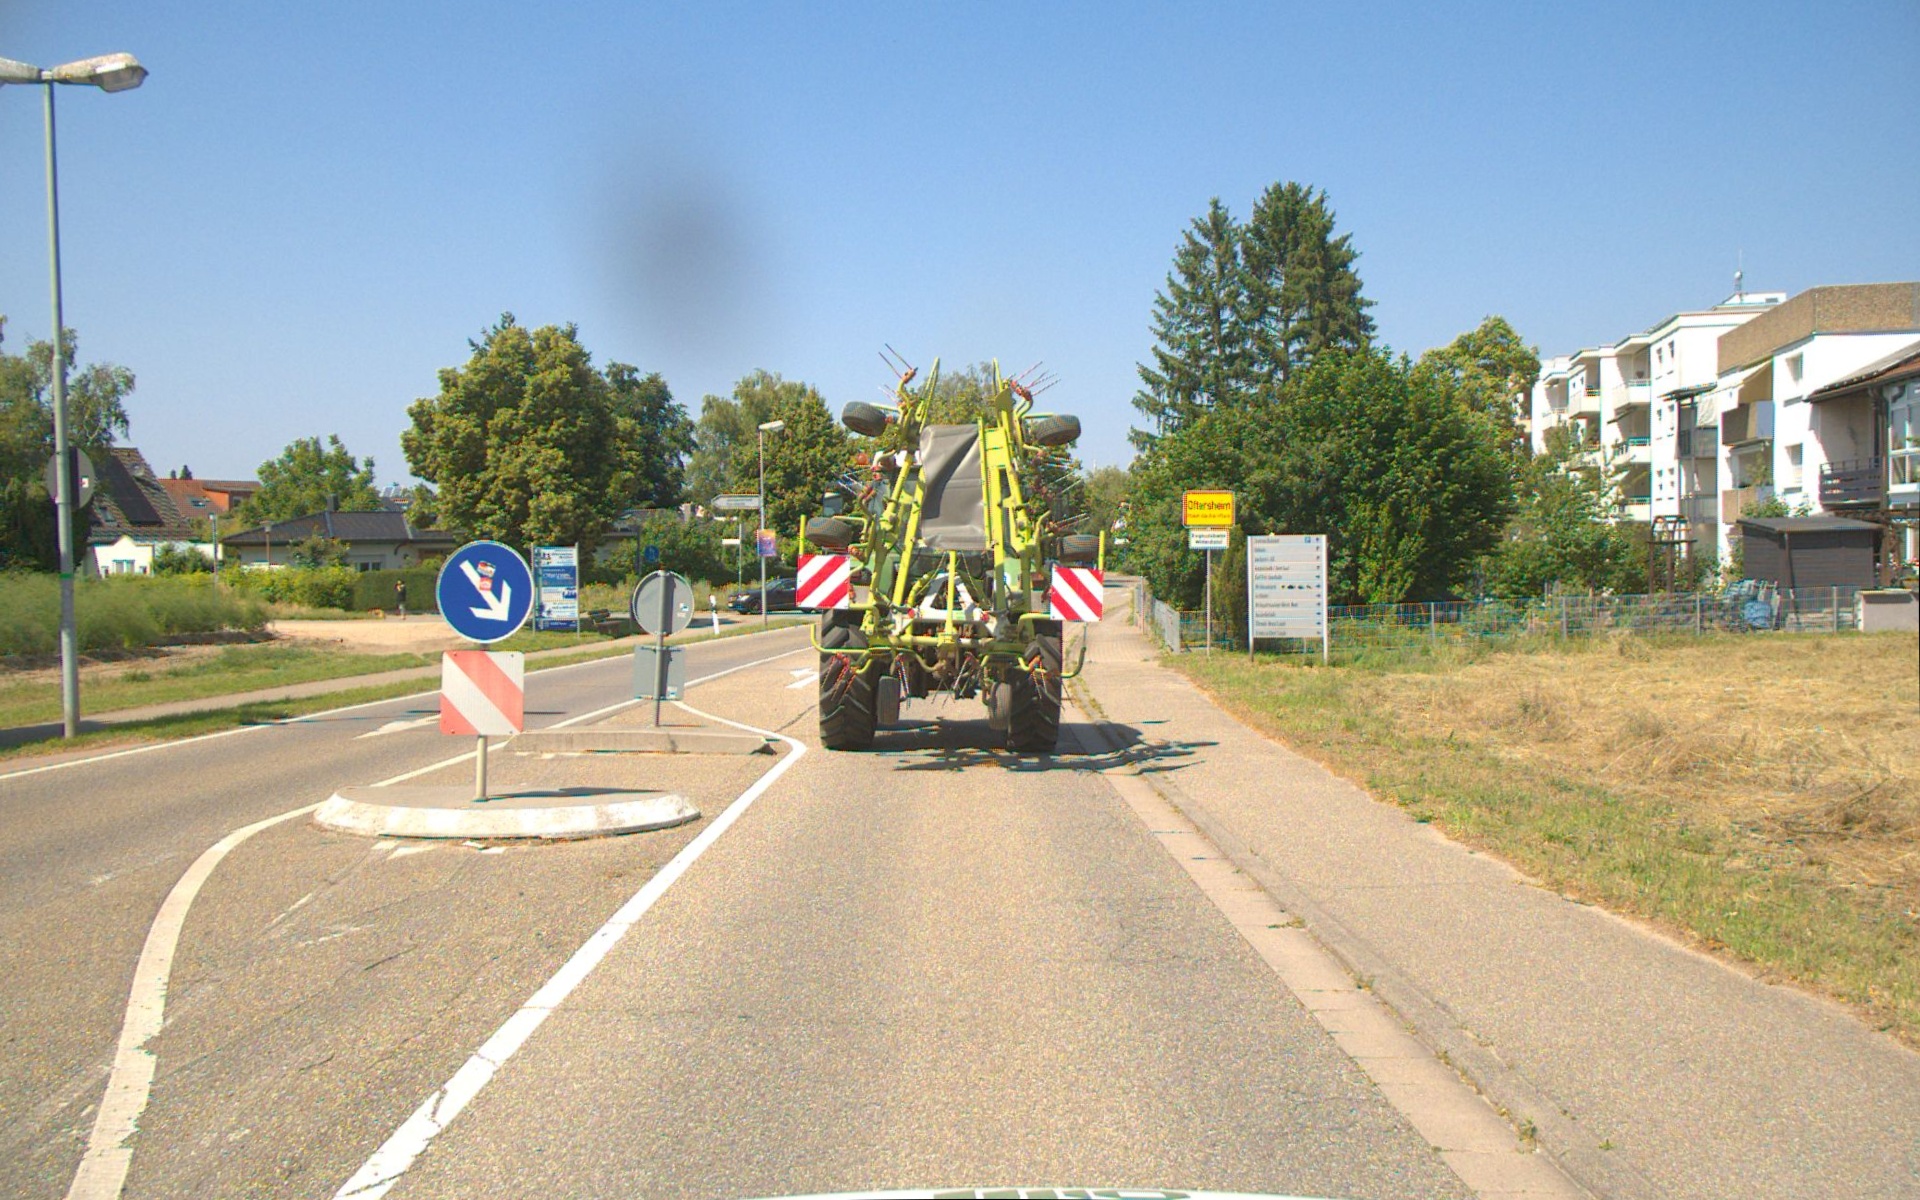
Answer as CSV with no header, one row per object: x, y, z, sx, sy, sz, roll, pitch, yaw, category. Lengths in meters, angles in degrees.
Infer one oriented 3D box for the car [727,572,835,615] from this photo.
-7.137,-0.263,65.680,4.019,1.545,1.993,-2,1,-15,car

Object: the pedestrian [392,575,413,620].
-22.068,-0.096,65.527,0.661,1.746,0.550,0,1,-6,pedestrian

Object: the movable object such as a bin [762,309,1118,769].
-0.153,-0.498,17.826,2.794,3.603,9.700,0,0,0,movable object such as a bin
